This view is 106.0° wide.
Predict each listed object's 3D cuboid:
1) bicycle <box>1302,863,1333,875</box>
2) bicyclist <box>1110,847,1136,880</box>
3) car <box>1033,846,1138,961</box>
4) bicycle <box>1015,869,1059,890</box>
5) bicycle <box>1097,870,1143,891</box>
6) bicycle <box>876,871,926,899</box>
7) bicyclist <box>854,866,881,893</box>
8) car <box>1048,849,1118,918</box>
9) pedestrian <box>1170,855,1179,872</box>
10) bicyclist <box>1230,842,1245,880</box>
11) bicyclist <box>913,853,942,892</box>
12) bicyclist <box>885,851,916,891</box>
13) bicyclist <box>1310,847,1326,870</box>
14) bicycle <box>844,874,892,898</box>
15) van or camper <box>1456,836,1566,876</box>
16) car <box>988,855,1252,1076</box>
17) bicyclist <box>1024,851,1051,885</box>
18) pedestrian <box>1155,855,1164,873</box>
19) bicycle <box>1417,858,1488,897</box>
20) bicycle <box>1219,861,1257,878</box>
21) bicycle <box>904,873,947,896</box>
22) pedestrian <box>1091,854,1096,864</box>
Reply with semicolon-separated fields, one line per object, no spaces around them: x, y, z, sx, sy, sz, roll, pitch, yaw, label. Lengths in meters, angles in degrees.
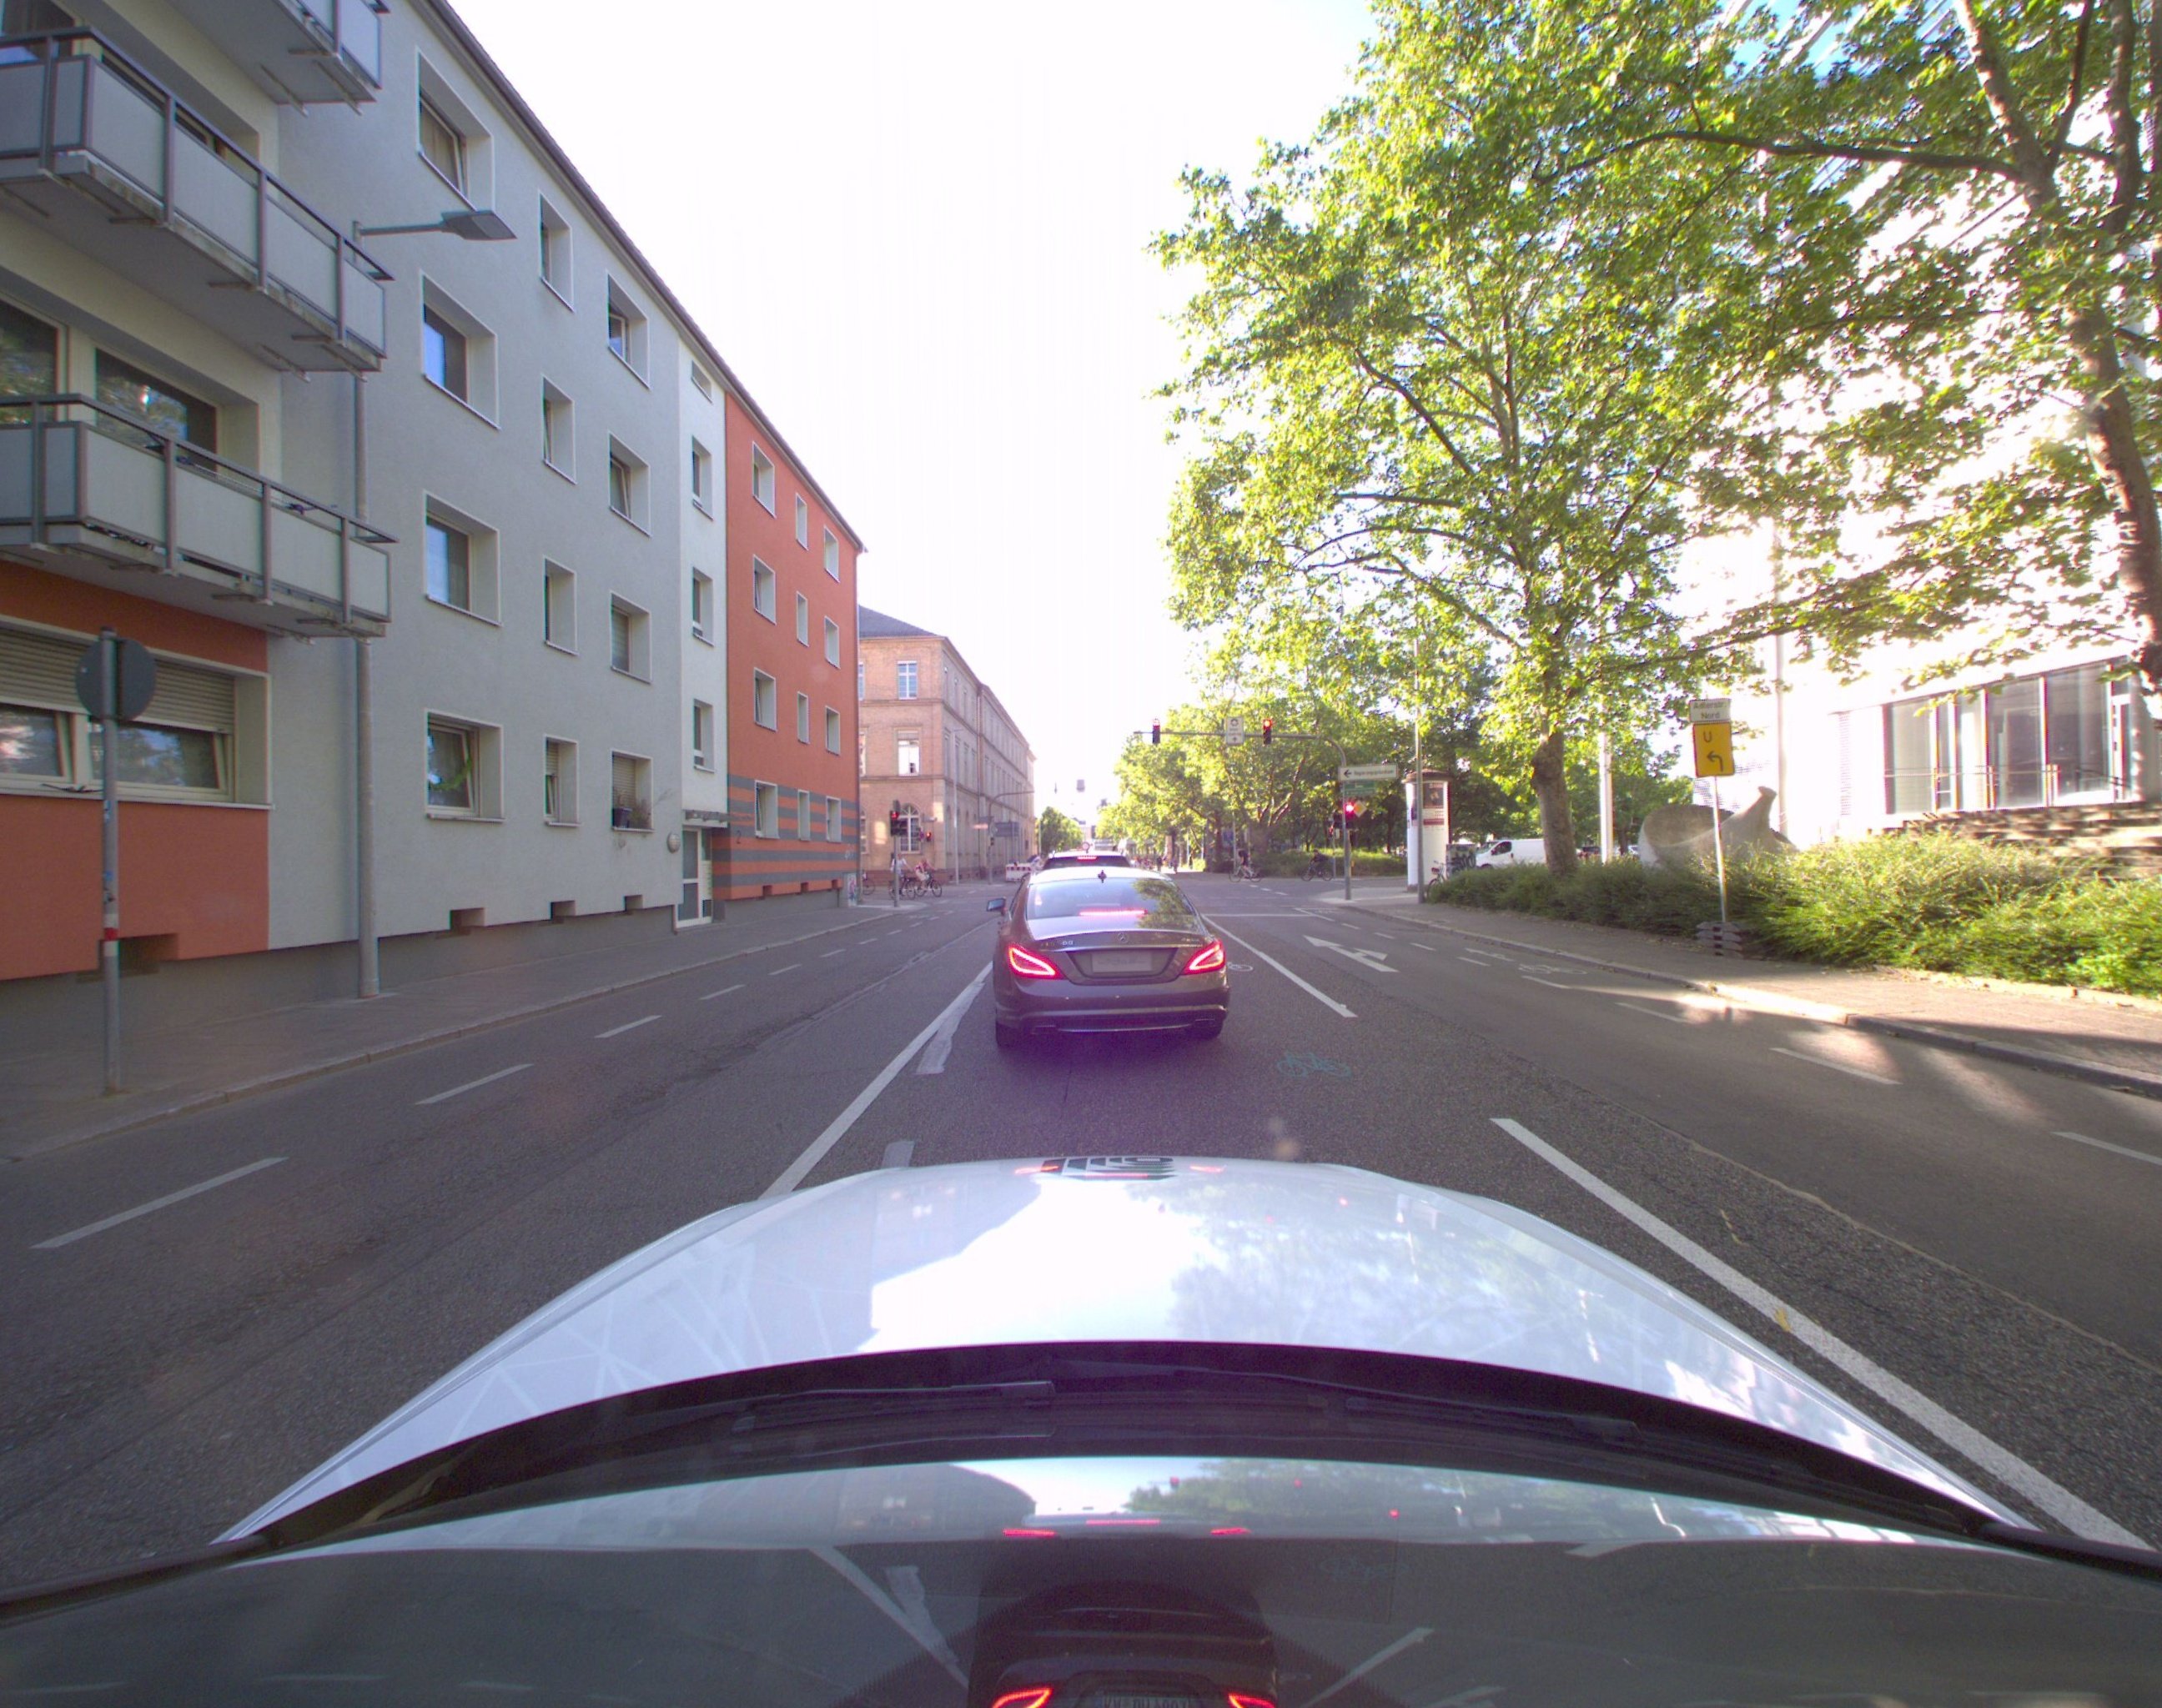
12.785;0.815;44.052;1.579;0.635;0.496;-1;0;5;bicycle
1.833;0.428;35.512;1.099;1.403;0.658;-1;0;1;bicyclist
0.061;0.717;13.757;1.513;1.647;3.879;-1;0;0;car
-2.014;1.165;37.224;1.884;0.882;0.726;-1;0;5;bicycle
1.702;1.157;35.517;1.966;0.836;0.677;-1;0;3;bicycle
-7.124;1.211;32.254;1.812;1.079;0.871;-1;0;32;bicycle
-9.492;1.120;36.249;0.987;1.154;0.621;-1;0;4;bicyclist
0.126;0.774;23.382;1.813;1.762;4.002;-1;0;2;car
7.905;0.812;69.060;0.646;1.433;0.659;-1;0;1;pedestrian
8.311;0.366;43.215;0.651;2.013;0.439;-1;0;-6;bicyclist
-6.311;0.759;33.516;0.969;1.578;0.691;-1;0;38;bicyclist
-7.161;0.670;32.263;0.828;1.555;0.850;-1;0;33;bicyclist
12.833;0.240;44.086;0.701;1.260;0.458;-1;0;5;bicyclist
-9.477;1.409;36.254;1.971;1.027;0.652;-1;0;4;bicycle
21.926;0.095;41.657;4.563;1.941;2.000;-1;0;0;van or camper
0.090;0.803;7.749;1.801;1.457;4.342;-1;-1;-5;car
-1.992;0.626;37.234;1.069;1.519;0.718;-1;0;6;bicyclist
6.734;0.852;69.791;0.646;1.503;0.637;-1;0;1;pedestrian
10.708;0.671;23.488;1.796;1.097;0.510;-1;0;4;bicycle
8.336;0.823;43.216;1.889;0.837;0.457;-1;0;-6;bicycle
-6.411;1.244;33.598;1.839;0.929;0.700;-1;0;38;bicycle
2.237;0.856;140.957;0.799;1.576;0.845;-1;0;1;pedestrian
